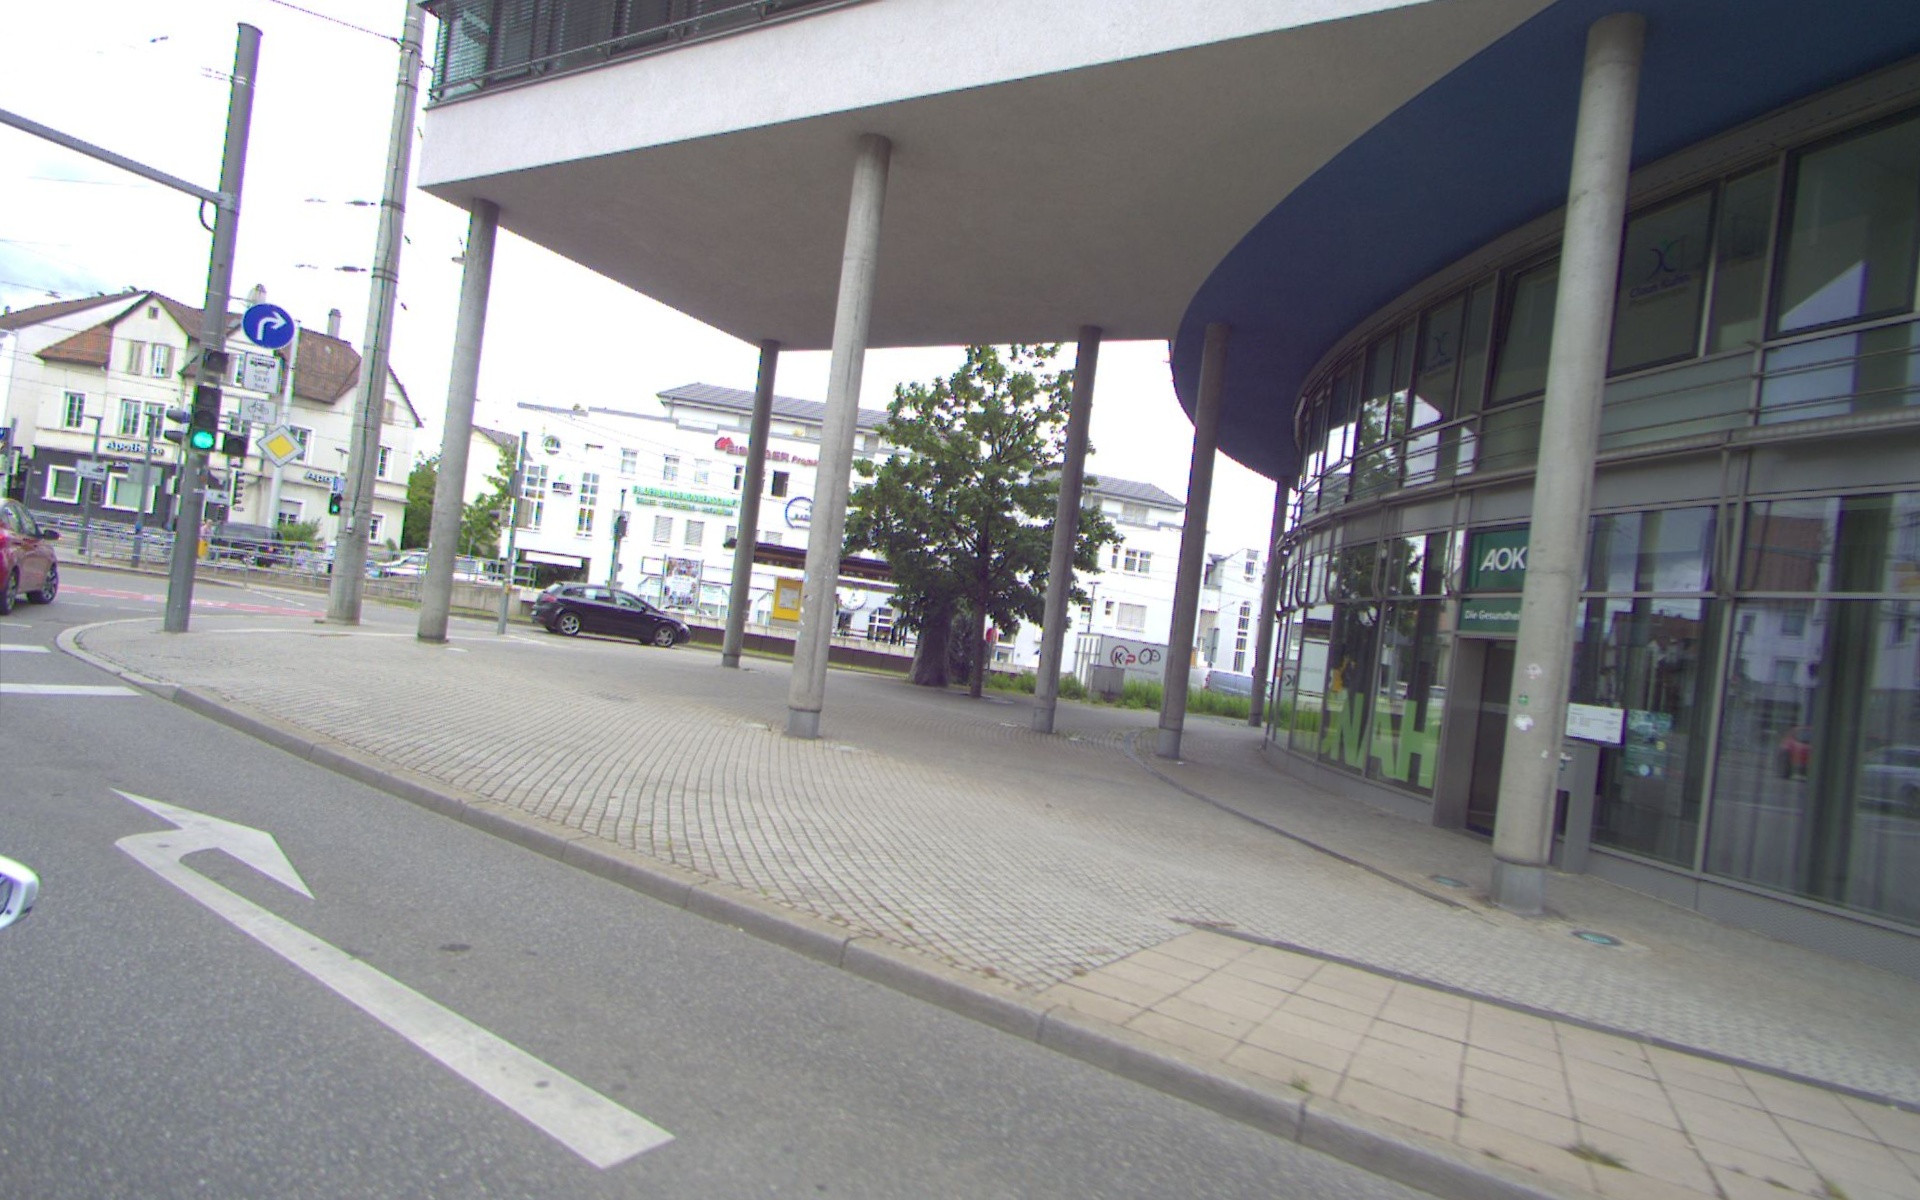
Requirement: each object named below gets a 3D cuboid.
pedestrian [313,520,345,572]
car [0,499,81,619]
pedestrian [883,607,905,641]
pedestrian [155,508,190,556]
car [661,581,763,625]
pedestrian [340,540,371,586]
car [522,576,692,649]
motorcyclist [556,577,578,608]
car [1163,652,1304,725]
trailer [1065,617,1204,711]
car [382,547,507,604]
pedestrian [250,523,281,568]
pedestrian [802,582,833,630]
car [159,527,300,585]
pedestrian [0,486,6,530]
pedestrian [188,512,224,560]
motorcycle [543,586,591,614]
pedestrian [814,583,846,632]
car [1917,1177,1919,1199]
[{"bbox_3d":[-22.141,-1.893,35.328,0.640,1.739,0.701,7,0,-19],"label":"pedestrian"},{"bbox_3d":[-13.545,-0.702,13.714,1.688,1.469,3.965,9,-2,-33],"label":"car"},{"bbox_3d":[-2.691,0.984,40.842,0.581,1.279,0.568,9,-1,-18],"label":"pedestrian"},{"bbox_3d":[-31.017,-2.663,39.628,0.637,1.739,0.705,7,0,20],"label":"pedestrian"},{"bbox_3d":[-12.354,0.181,50.398,4.704,1.487,1.989,8,-3,-9],"label":"car"},{"bbox_3d":[-24.549,-1.476,40.845,0.639,1.737,0.788,9,-1,-12],"label":"pedestrian"},{"bbox_3d":[-9.584,0.353,27.399,3.965,1.427,1.723,9,-1,-35],"label":"car"},{"bbox_3d":[-19.120,-0.352,48.930,0.681,1.410,0.763,8,-2,-9],"label":"motorcyclist"},{"bbox_3d":[10.211,3.305,37.518,4.849,1.966,1.874,10,-3,-25],"label":"car"},{"bbox_3d":[6.181,2.258,35.655,4.273,2.641,1.874,10,-3,-25],"label":"trailer"},{"bbox_3d":[-24.578,-1.149,48.130,4.704,1.940,1.989,8,-3,-9],"label":"car"},{"bbox_3d":[-28.844,-2.240,41.788,0.781,1.737,0.645,9,-1,-29],"label":"pedestrian"},{"bbox_3d":[-5.462,0.222,38.421,0.779,1.737,0.686,9,-1,-23],"label":"pedestrian"},{"bbox_3d":[-33.170,-1.961,45.836,4.625,1.841,1.860,8,-3,-16],"label":"car"},{"bbox_3d":[-39.384,-3.796,40.691,0.714,1.739,0.843,7,0,27],"label":"pedestrian"},{"bbox_3d":[-29.768,-2.508,39.742,0.639,1.737,0.788,9,-1,-12],"label":"pedestrian"},{"bbox_3d":[-19.105,0.023,48.923,1.947,1.085,0.763,8,-2,-9],"label":"motorcycle"},{"bbox_3d":[-5.141,0.309,39.852,0.778,1.794,0.688,7,-2,40],"label":"pedestrian"},{"bbox_3d":[3.878,1.258,0.520,4.494,1.563,2.000,7,-4,31],"label":"car"}]
